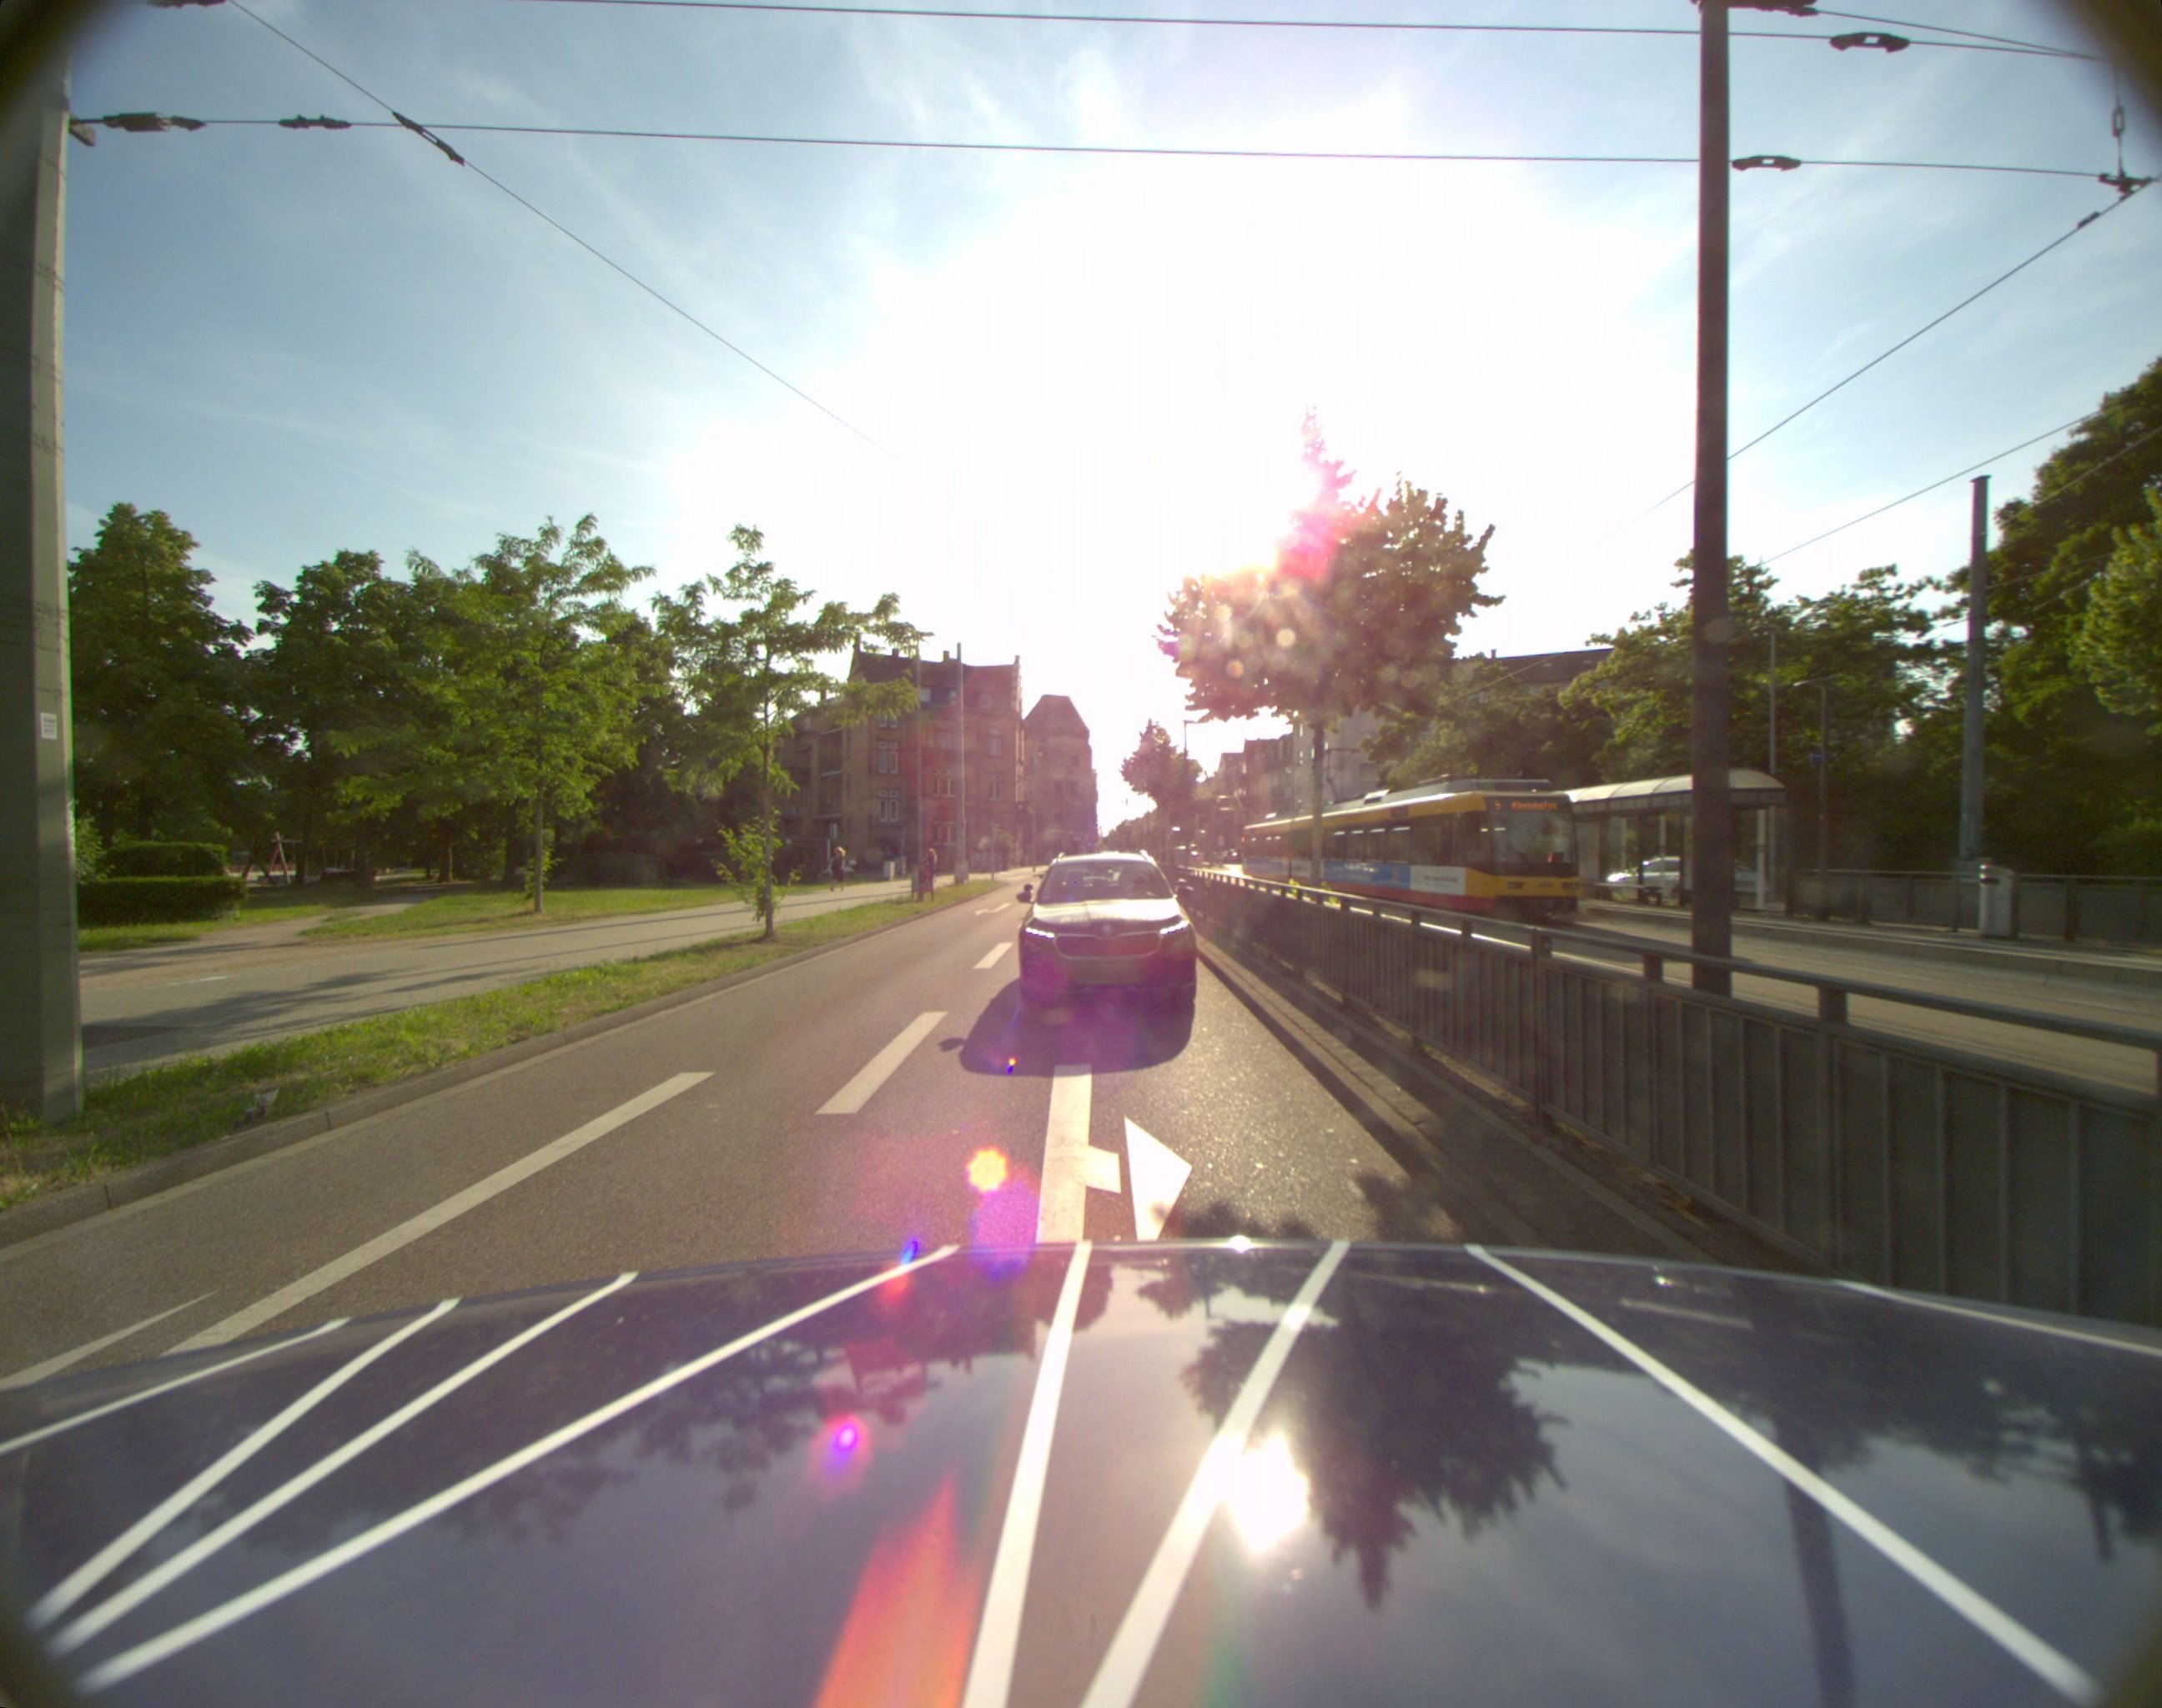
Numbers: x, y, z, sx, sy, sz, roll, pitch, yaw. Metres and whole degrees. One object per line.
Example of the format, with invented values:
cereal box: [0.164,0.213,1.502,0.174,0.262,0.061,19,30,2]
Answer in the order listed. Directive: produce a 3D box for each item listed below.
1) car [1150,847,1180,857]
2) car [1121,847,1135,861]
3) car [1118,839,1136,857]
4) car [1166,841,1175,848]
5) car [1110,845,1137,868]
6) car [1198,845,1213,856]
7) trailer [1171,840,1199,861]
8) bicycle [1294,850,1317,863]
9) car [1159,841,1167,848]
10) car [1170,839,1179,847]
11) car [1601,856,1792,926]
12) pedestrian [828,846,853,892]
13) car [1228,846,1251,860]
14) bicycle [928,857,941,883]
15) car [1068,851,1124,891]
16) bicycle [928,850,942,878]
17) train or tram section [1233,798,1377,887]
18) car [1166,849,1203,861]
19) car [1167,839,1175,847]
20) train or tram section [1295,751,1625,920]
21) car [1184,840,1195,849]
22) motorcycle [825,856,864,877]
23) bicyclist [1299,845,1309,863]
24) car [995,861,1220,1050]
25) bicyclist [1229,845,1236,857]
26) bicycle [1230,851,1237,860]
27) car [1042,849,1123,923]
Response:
car: [13.527,-0.305,122.786,4.259,1.414,2.176,-1,0,43]
car: [6.958,-0.052,113.441,1.998,2.002,4.000,0,1,1]
car: [5.358,-0.681,89.057,1.998,2.002,4.000,0,1,1]
car: [25.674,-2.683,218.086,1.998,2.002,4.000,-1,0,1]
car: [3.414,0.179,61.255,1.998,1.772,4.000,0,1,1]
car: [21.132,-0.606,129.260,2.170,1.890,4.611,-1,0,4]
trailer: [12.443,-0.410,90.775,2.858,2.378,1.726,-1,0,33]
bicycle: [19.772,0.241,66.904,1.912,1.104,0.736,0,1,22]
car: [25.775,-2.947,239.091,1.998,2.002,4.000,-1,0,1]
car: [23.885,-2.830,193.651,1.998,2.002,4.001,-1,0,5]
car: [16.688,0.917,20.903,1.998,1.674,4.000,-1,0,0]
pedestrian: [-9.180,0.555,29.028,0.616,1.682,0.549,5,1,5]
car: [20.102,-0.135,96.320,2.170,1.740,4.719,-1,0,4]
bicycle: [-6.929,0.745,36.078,0.484,1.183,1.338,-1,0,-7]
car: [0.707,0.661,32.385,1.997,1.565,4.002,-1,0,6]
bicycle: [-6.927,0.462,36.037,0.575,1.290,0.688,-1,1,-7]
train or tram section: [10.379,-0.476,37.488,3.169,3.459,14.533,-1,0,2]
car: [11.926,0.090,87.887,3.941,1.352,1.676,0,1,39]
car: [24.345,-3.027,204.935,1.998,2.002,4.001,-1,0,5]
train or tram section: [9.924,-0.413,23.054,3.169,3.459,14.472,-1,0,2]
car: [23.215,-2.024,162.744,1.998,2.002,4.000,-1,0,2]
motorcycle: [-13.466,0.717,43.349,2.002,1.153,0.708,-1,1,-4]
bicyclist: [19.659,-0.010,66.911,0.771,1.633,0.796,0,1,22]
car: [0.332,0.850,8.221,1.839,1.472,4.001,0,0,3]
bicyclist: [17.760,-0.351,89.011,0.652,1.405,0.717,-1,1,4]
bicycle: [17.822,0.177,88.767,0.543,1.012,2.251,-1,0,5]
car: [0.076,0.802,21.108,1.998,1.827,4.000,-1,0,1]
